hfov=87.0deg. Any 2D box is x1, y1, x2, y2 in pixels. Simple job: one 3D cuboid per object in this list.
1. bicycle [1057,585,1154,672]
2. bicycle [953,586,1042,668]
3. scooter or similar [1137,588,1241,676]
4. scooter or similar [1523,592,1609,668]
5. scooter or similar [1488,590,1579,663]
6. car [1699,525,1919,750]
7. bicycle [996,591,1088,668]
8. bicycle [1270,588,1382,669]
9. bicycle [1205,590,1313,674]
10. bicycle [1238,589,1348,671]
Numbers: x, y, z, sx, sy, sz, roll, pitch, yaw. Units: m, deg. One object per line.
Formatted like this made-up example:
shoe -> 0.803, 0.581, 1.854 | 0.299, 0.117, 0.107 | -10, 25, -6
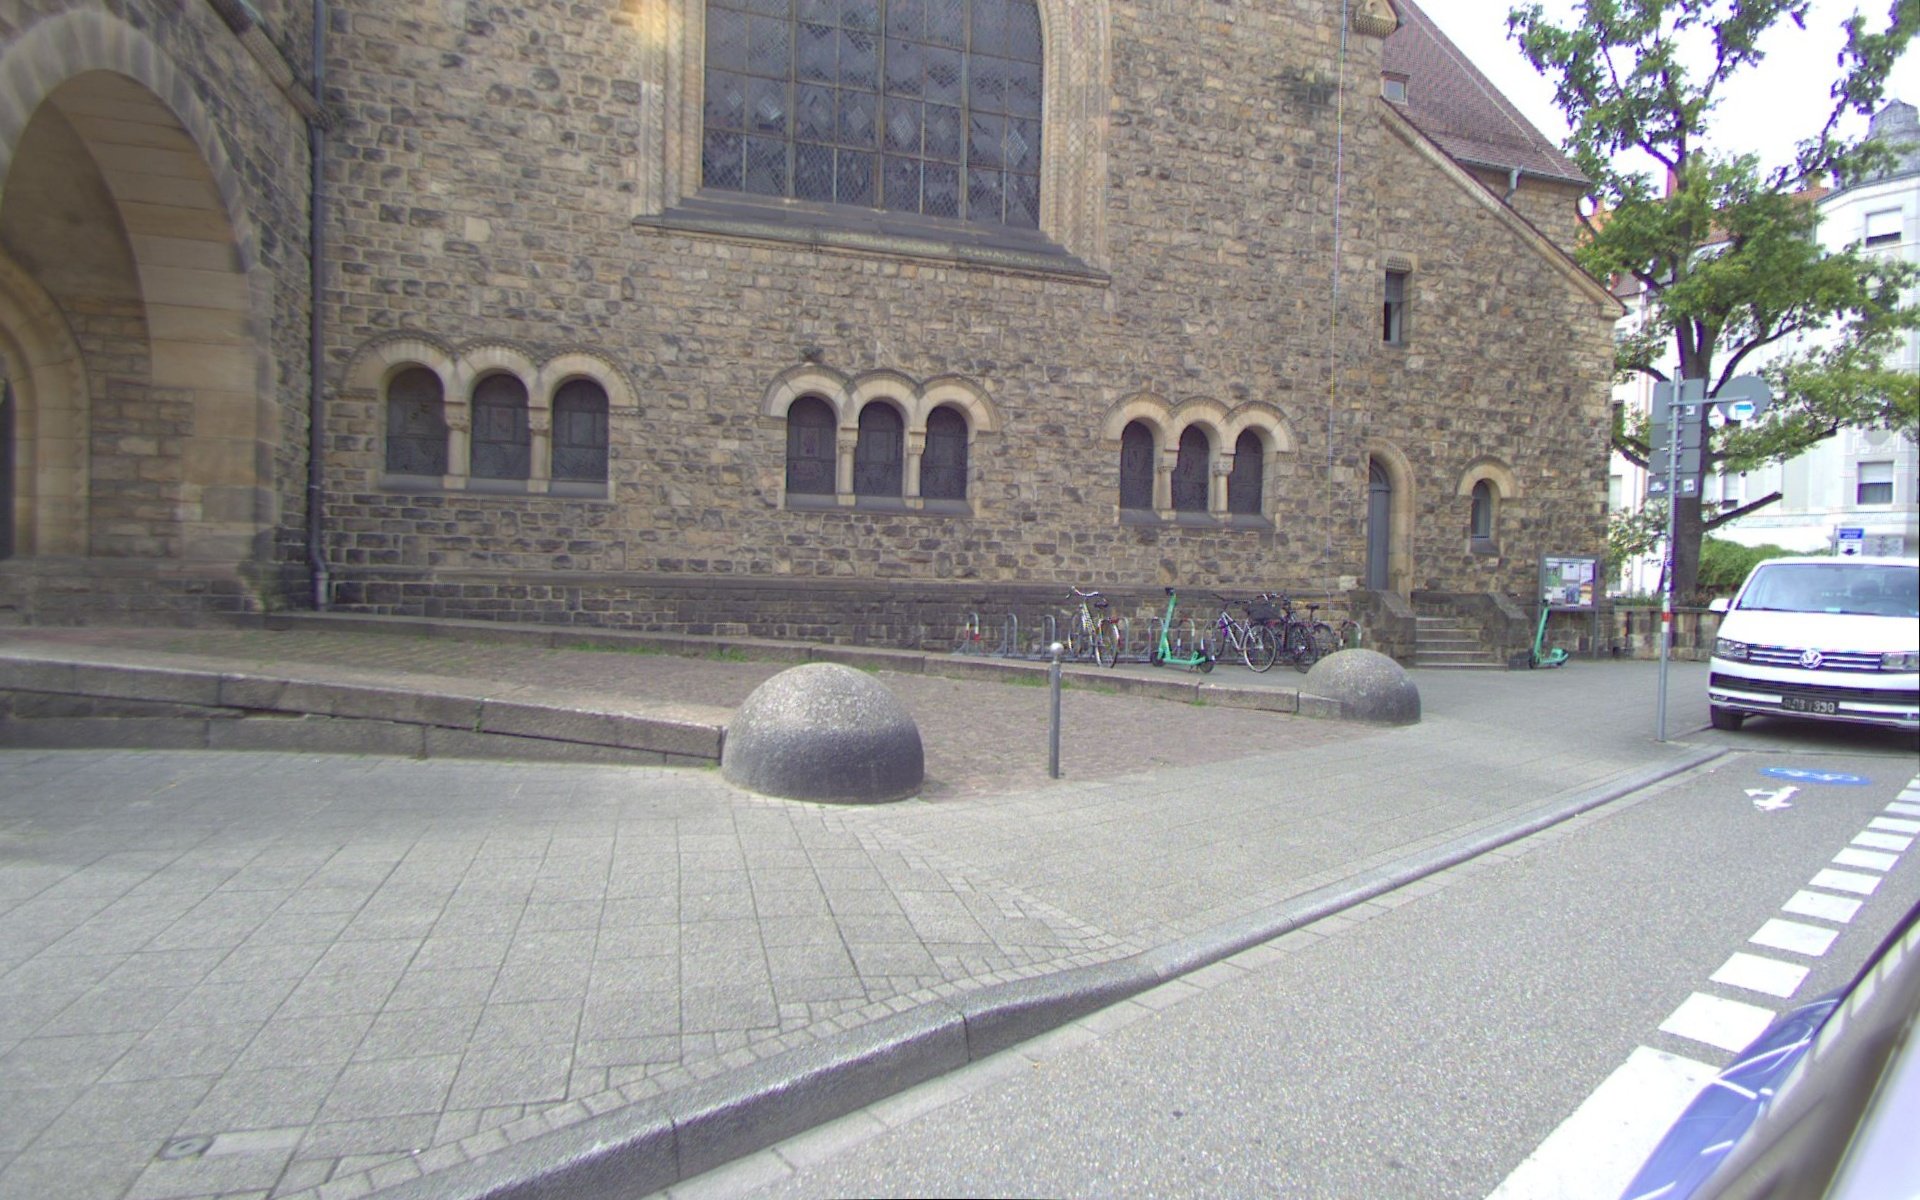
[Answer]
bicycle -> 2.039, 0.374, 14.467 | 0.534, 1.125, 1.786 | 1, 1, -21
bicycle -> 0.491, 0.349, 14.067 | 0.534, 0.969, 1.787 | 1, 3, -21
scooter or similar -> 3.284, 0.430, 14.708 | 0.534, 1.154, 1.786 | 1, 1, -21
scooter or similar -> 10.257, 0.503, 17.130 | 1.413, 1.222, 0.547 | 1, 1, -27
scooter or similar -> 10.085, 0.463, 17.792 | 1.450, 1.222, 0.547 | 1, 1, -21
car -> 10.246, 0.347, 11.422 | 5.035, 2.054, 2.018 | 1, 2, -42
bicycle -> 1.126, 0.384, 14.254 | 0.534, 0.969, 1.786 | 1, 1, -21
bicycle -> 5.565, 0.412, 15.501 | 0.534, 1.125, 1.786 | 1, 1, -21
bicycle -> 4.405, 0.449, 15.056 | 0.534, 1.125, 1.786 | 1, 1, -21
bicycle -> 4.977, 0.417, 15.255 | 0.534, 1.125, 1.779 | 1, 1, -21
